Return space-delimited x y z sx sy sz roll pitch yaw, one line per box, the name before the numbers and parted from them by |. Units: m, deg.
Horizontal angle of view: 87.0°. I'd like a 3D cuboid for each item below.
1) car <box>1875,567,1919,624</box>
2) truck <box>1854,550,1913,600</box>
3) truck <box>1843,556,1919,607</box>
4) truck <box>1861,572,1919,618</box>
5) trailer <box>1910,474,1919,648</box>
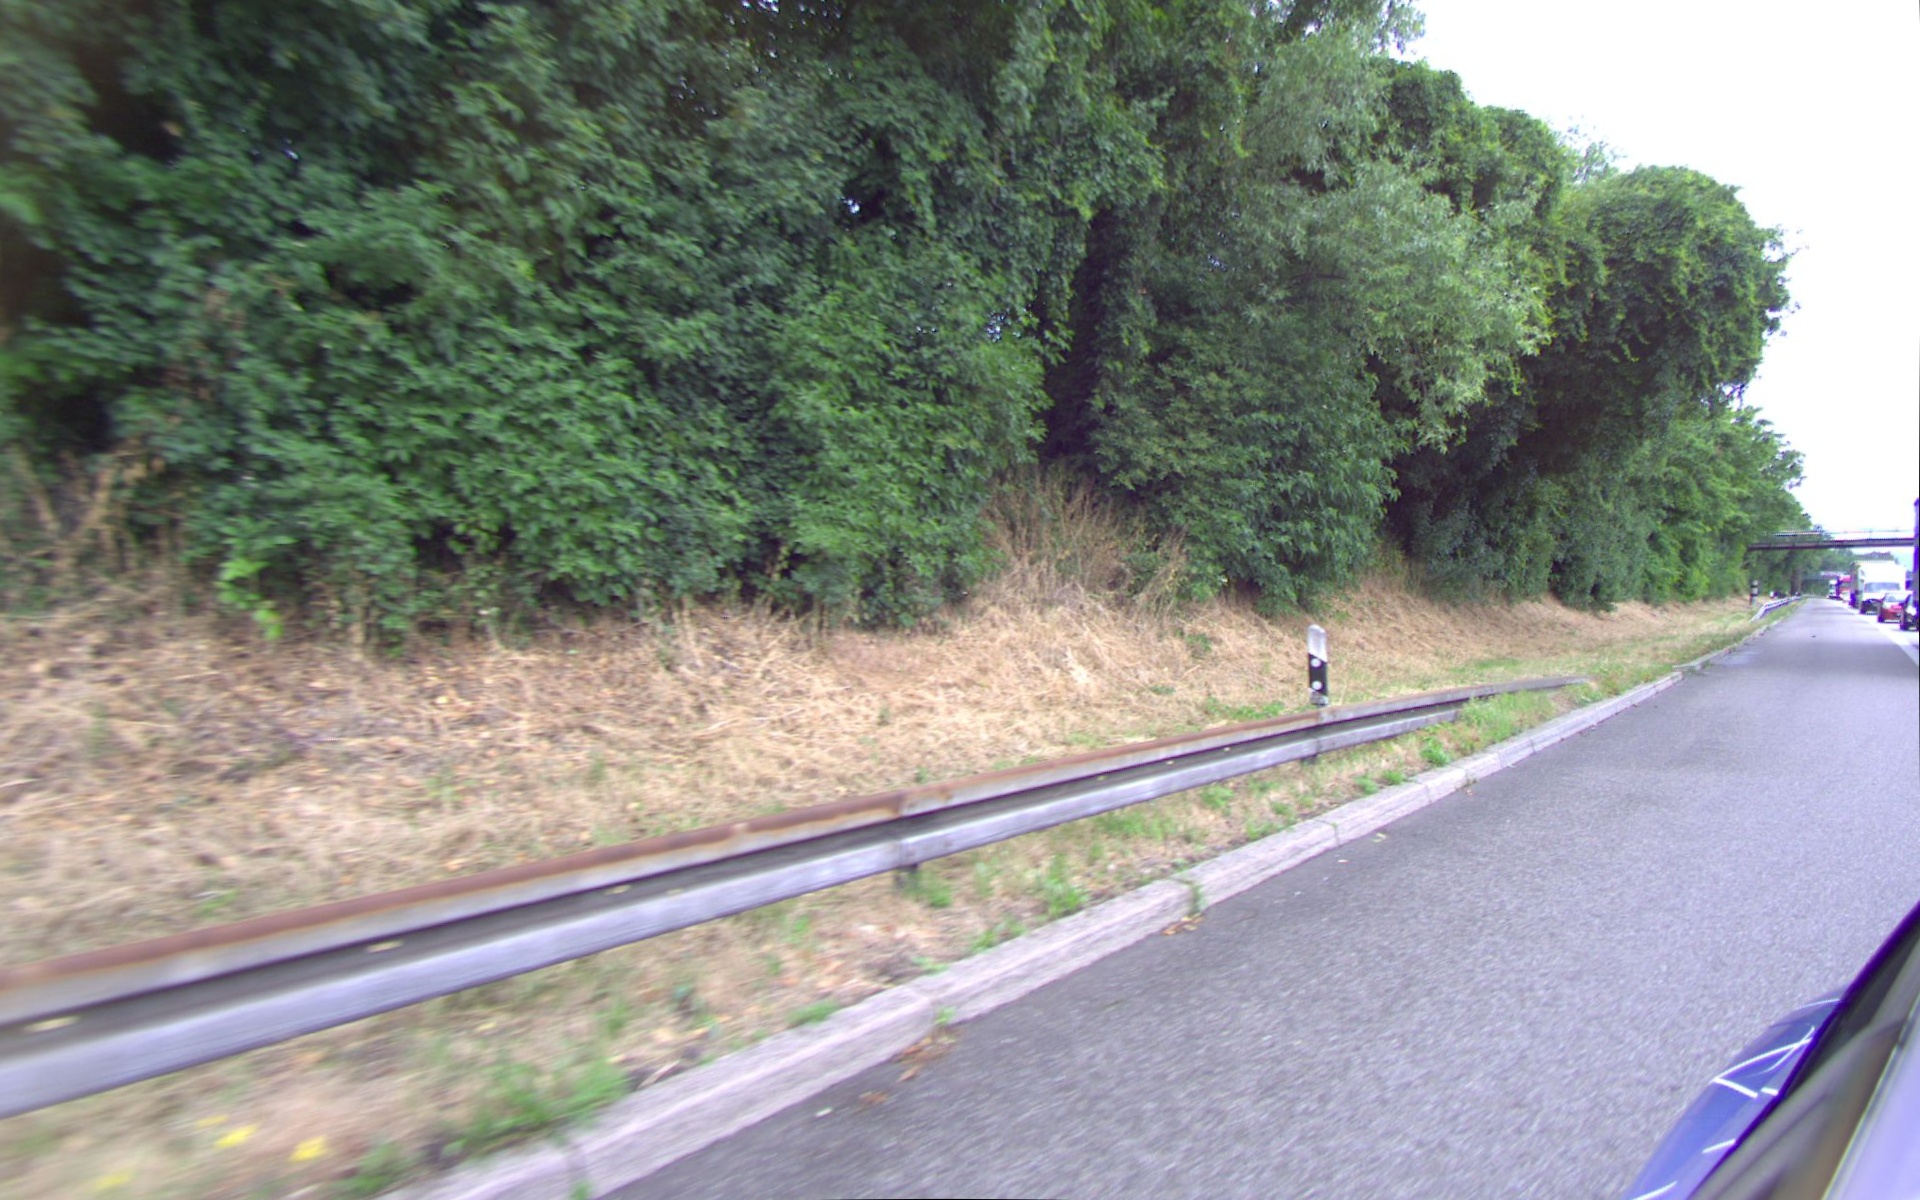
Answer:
car | 35.783 -0.192 38.097 1.744 2.038 3.943 2 2 40
truck | 80.271 -2.146 88.107 3.353 4.115 10.037 0 1 40
truck | 60.226 -1.249 66.347 3.352 3.155 7.137 1 1 40
truck | 45.041 -0.282 48.908 1.890 2.038 5.993 3 3 44
trailer | 24.339 -0.936 23.637 2.836 4.087 12.888 0 1 42
